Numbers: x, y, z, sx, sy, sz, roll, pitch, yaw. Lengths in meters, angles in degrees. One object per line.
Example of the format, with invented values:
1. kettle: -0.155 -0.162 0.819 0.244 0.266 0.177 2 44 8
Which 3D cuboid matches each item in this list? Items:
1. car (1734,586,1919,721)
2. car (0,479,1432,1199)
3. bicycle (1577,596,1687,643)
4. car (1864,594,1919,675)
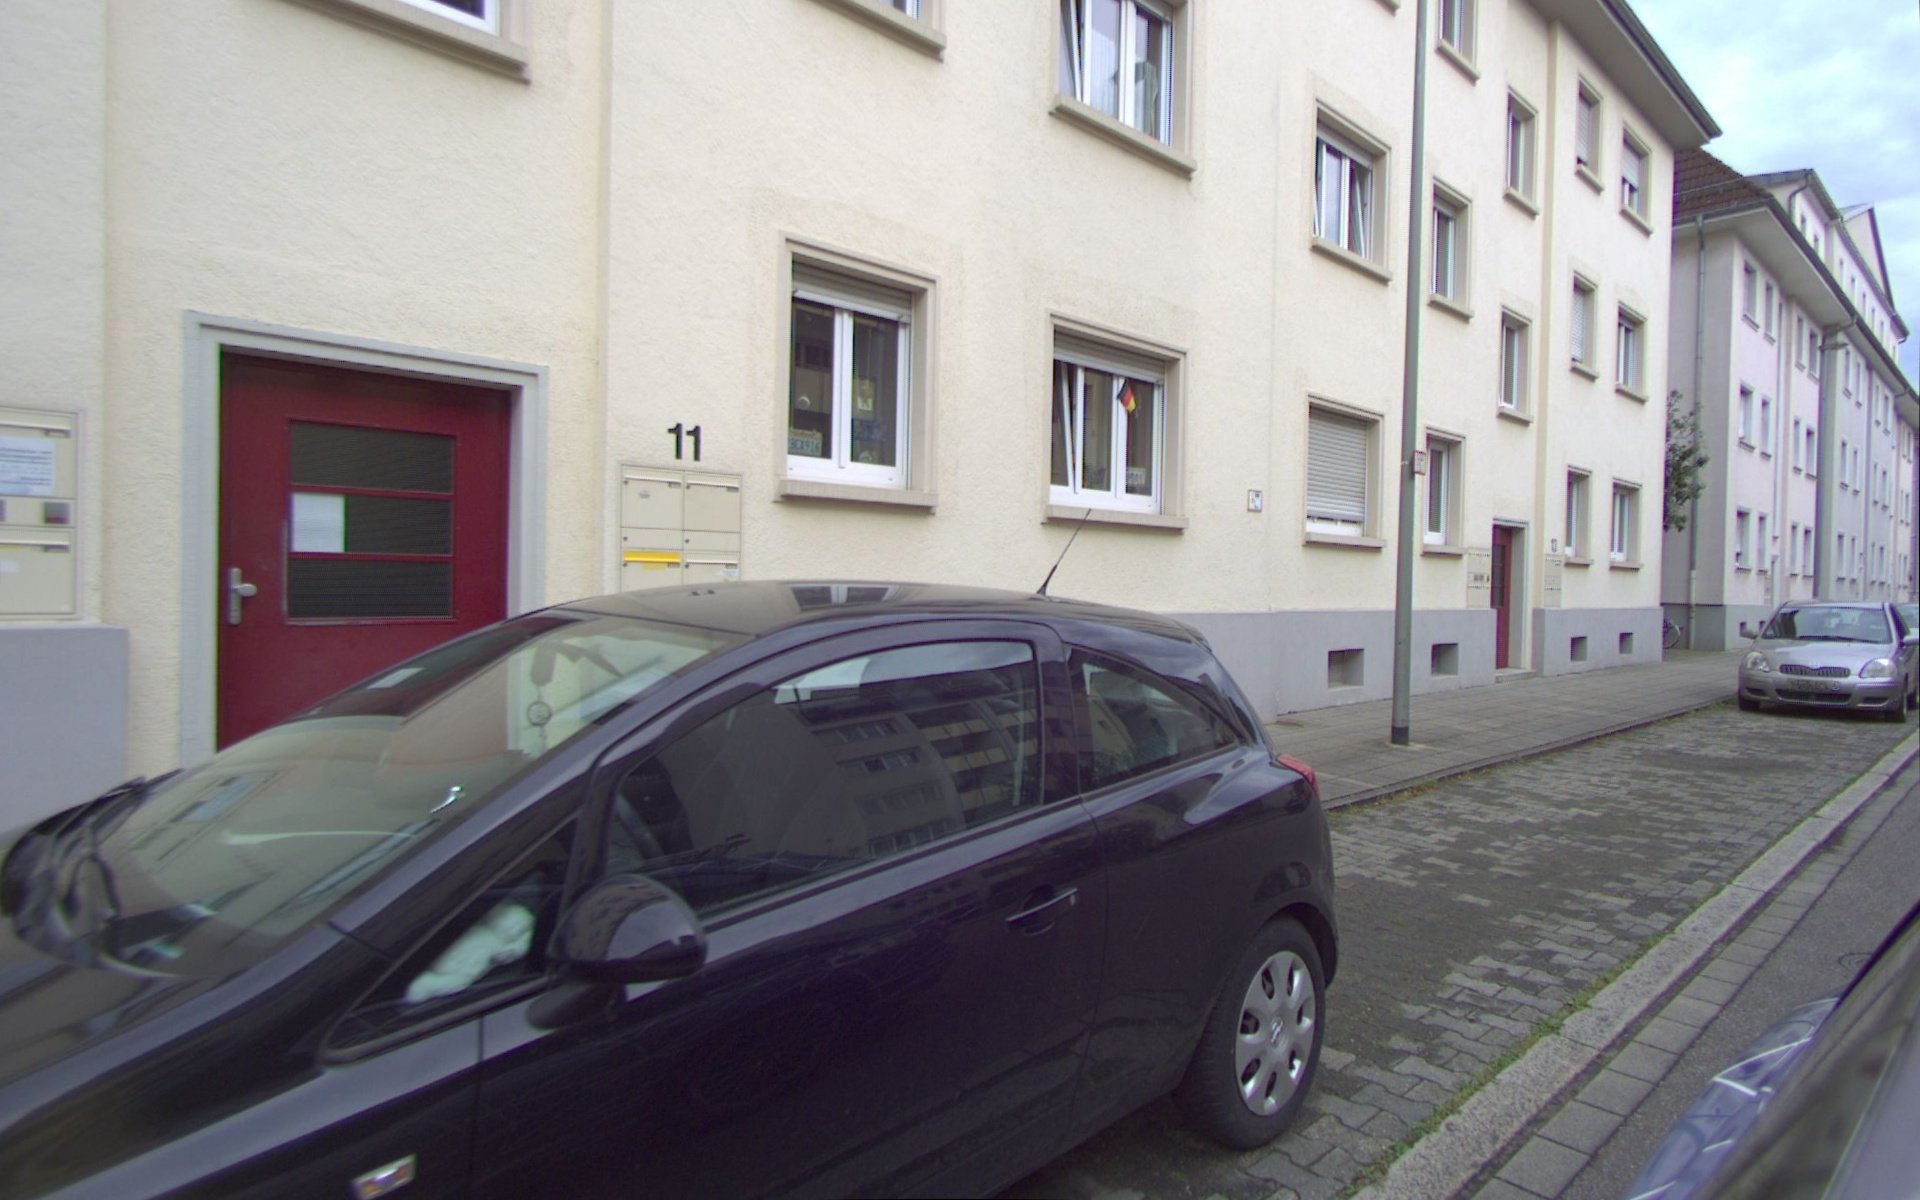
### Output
1. car: 12.018 0.612 13.763 3.992 1.536 1.727 0 2 -43
2. car: -0.534 0.643 2.495 3.992 1.536 1.727 0 0 -43
3. bicycle: 16.800 0.473 25.359 0.637 1.090 2.211 0 1 -42
4. car: 19.581 0.651 20.296 3.991 1.510 1.728 0 1 -42
